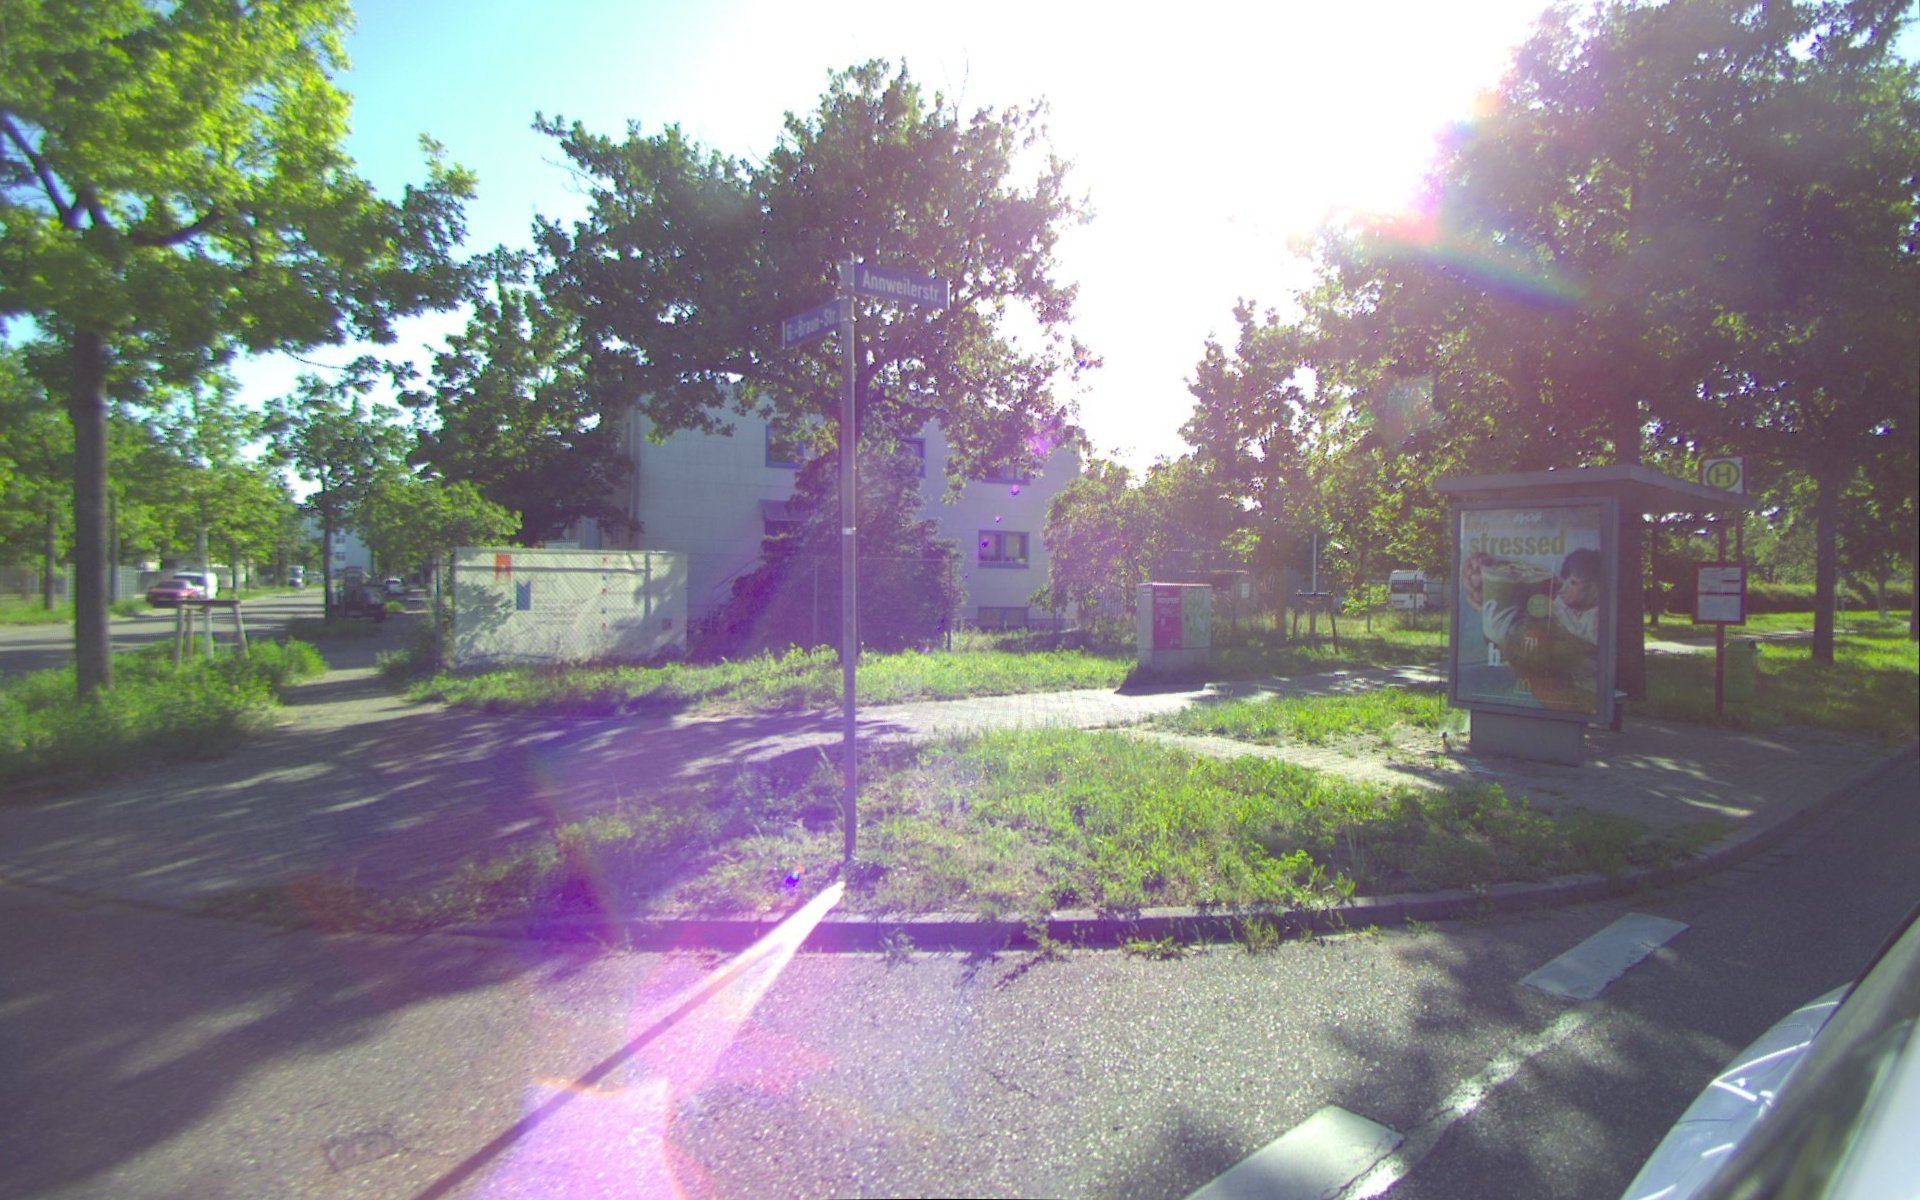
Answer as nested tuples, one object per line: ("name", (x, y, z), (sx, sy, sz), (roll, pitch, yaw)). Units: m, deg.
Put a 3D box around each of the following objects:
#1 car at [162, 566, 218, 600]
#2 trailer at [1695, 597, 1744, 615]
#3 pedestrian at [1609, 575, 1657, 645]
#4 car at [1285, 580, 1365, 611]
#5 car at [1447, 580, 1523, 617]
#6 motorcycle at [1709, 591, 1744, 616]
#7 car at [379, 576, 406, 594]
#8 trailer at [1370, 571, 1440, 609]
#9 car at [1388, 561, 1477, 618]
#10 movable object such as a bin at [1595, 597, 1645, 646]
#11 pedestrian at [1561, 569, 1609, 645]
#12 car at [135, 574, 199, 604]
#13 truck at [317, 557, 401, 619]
("car", (-44.466, -0.990, 58.542), (1.960, 1.860, 5.464), (0, 1, -30))
("trailer", (44.961, 0.353, 59.947), (2.013, 0.878, 1.586), (-4, 3, -27))
("pedestrian", (16.150, 0.230, 24.267), (0.852, 1.623, 0.727), (0, 1, -40))
("car", (20.584, -0.240, 57.094), (3.915, 1.660, 1.845), (0, 1, -18))
("car", (24.980, -0.076, 48.130), (3.532, 1.685, 2.010), (0, 1, -39))
("motorcycle", (43.990, 0.187, 58.093), (2.359, 1.246, 0.666), (-5, 3, -28))
("car", (-49.185, -1.334, 87.756), (1.902, 1.498, 4.522), (0, 1, -28))
("trailer", (28.409, -0.649, 64.617), (3.712, 2.336, 2.199), (0, 1, -27))
("car", (23.544, -0.542, 50.371), (4.764, 2.676, 2.165), (0, 1, -39))
("movable object such as a bin", (15.467, 0.488, 23.721), (0.852, 1.094, 0.727), (0, 3, -40))
("pedestrian", (14.998, 0.150, 24.301), (0.852, 1.777, 0.727), (0, 1, -40))
("car", (-41.915, -0.612, 53.571), (1.902, 1.498, 4.522), (0, 1, -28))
("truck", (-22.827, -0.499, 38.638), (1.959, 2.138, 5.165), (-2, 2, -22))
